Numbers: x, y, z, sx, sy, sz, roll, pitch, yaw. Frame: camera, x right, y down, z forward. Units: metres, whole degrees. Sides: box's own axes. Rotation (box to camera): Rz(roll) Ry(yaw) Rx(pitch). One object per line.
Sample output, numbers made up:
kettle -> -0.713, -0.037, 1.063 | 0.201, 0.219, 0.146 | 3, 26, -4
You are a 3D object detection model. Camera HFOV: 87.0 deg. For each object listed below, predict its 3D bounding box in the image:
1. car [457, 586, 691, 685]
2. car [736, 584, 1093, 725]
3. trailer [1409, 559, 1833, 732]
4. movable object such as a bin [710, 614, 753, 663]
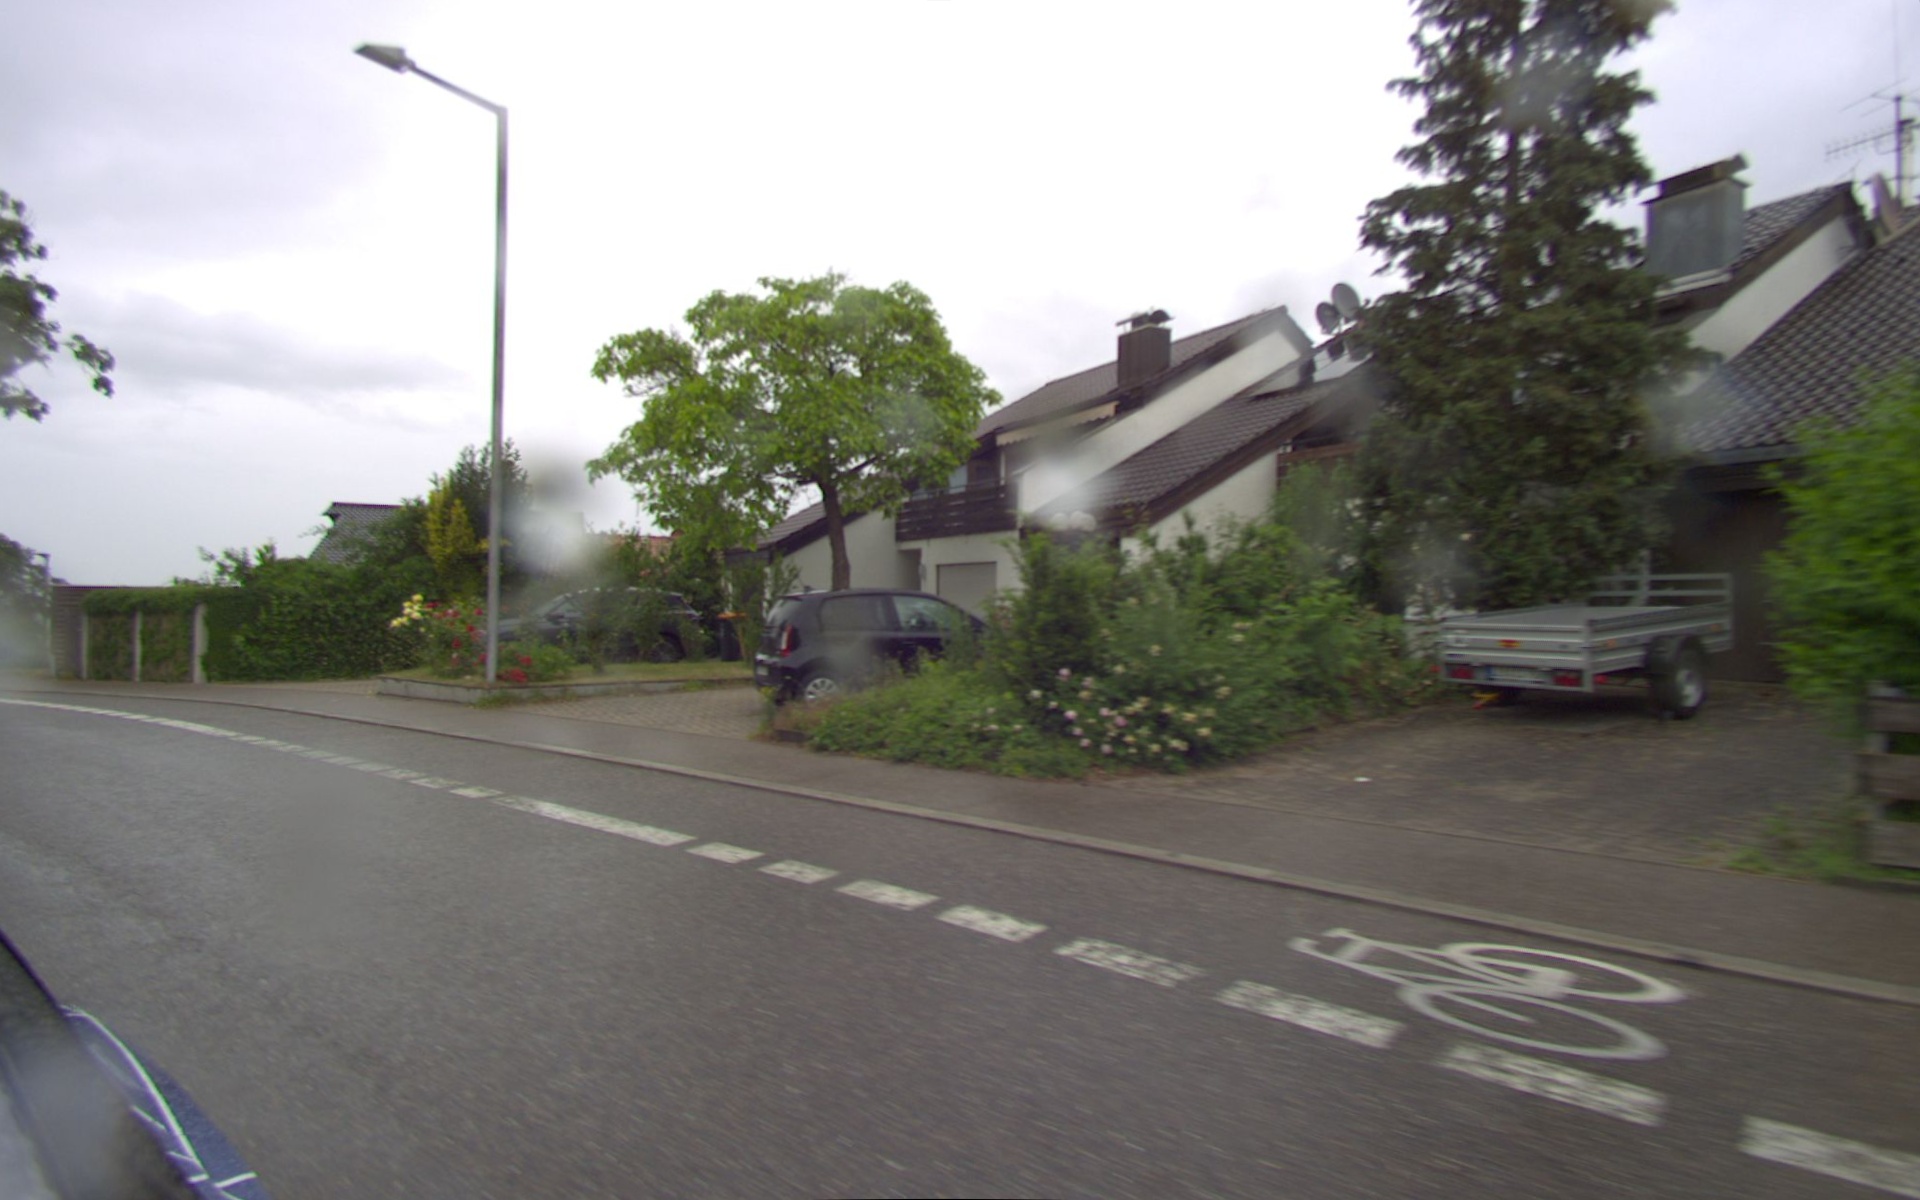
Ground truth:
car -> -7.398, 0.626, 19.394 | 3.931, 1.644, 2.020 | -2, 0, -28
car -> -0.592, 0.563, 12.411 | 3.931, 1.399, 1.947 | -2, 2, -21
trailer -> 6.240, 0.329, 9.515 | 3.635, 1.215, 1.932 | -3, 1, -32
movable object such as a bin -> -5.050, 0.841, 22.344 | 0.708, 1.044, 0.734 | -1, -1, -31
